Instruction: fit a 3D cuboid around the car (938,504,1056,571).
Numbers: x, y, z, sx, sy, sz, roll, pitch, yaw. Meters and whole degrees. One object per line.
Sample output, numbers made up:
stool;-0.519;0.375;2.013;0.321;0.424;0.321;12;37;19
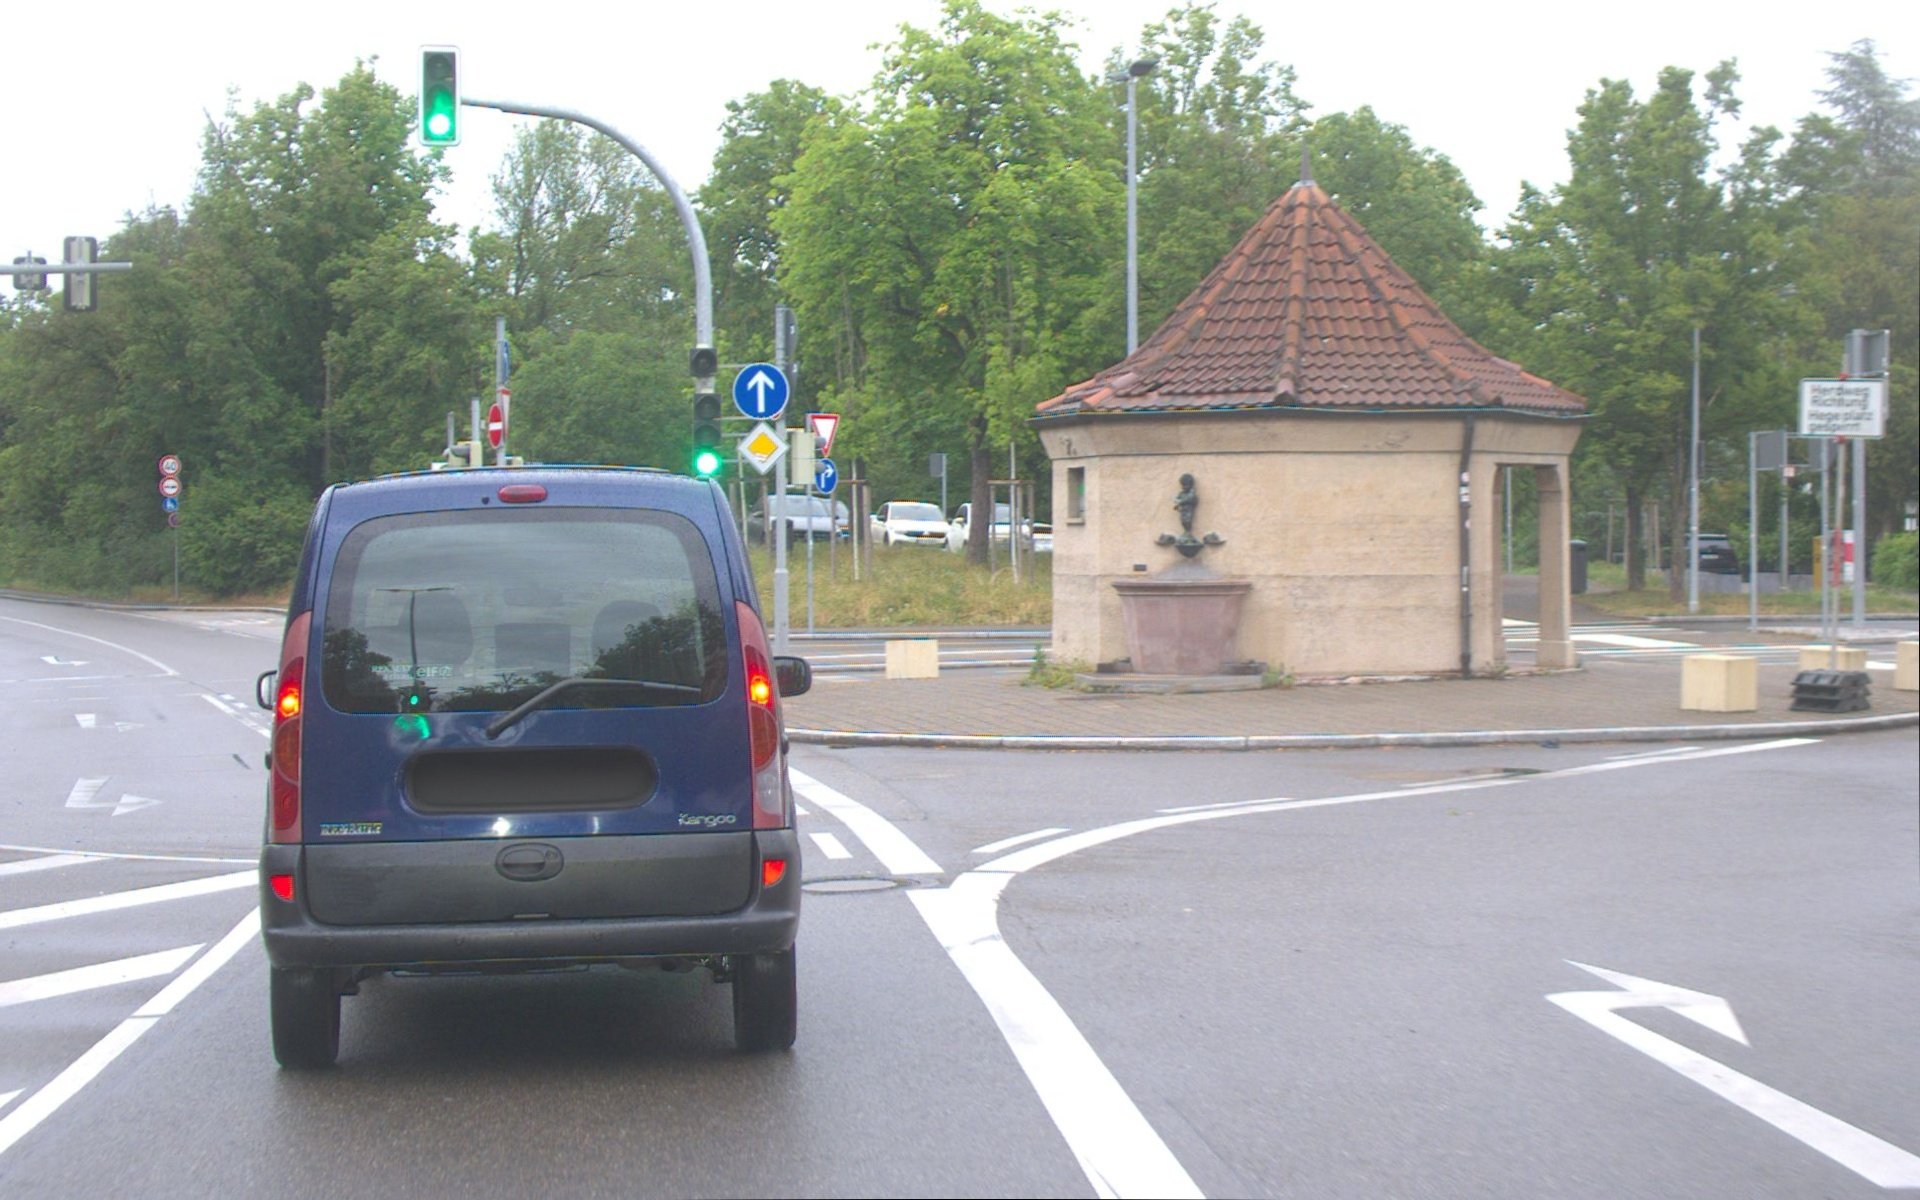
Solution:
car;0.835;-1.453;80.908;1.885;1.475;4.070;1;0;-12

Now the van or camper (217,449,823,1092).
van or camper;-1.423;0.462;11.792;1.712;1.819;4.001;0;1;-5

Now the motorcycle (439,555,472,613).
motorcycle;-11.366;-0.366;77.509;0.589;1.284;1.538;-1;1;-3

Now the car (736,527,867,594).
car;-3.691;-0.888;79.280;1.993;1.475;4.286;1;0;-17

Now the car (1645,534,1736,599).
car;23.016;-1.059;108.434;1.993;2.007;4.000;0;1;0

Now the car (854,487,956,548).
car;-1.487;-2.177;91.308;1.885;1.475;4.070;1;0;-13

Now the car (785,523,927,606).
car;-2.250;-0.777;73.300;1.993;1.656;4.001;2;1;-17

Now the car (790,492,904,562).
car;-2.910;-1.853;87.561;1.993;1.656;4.474;2;1;-13
